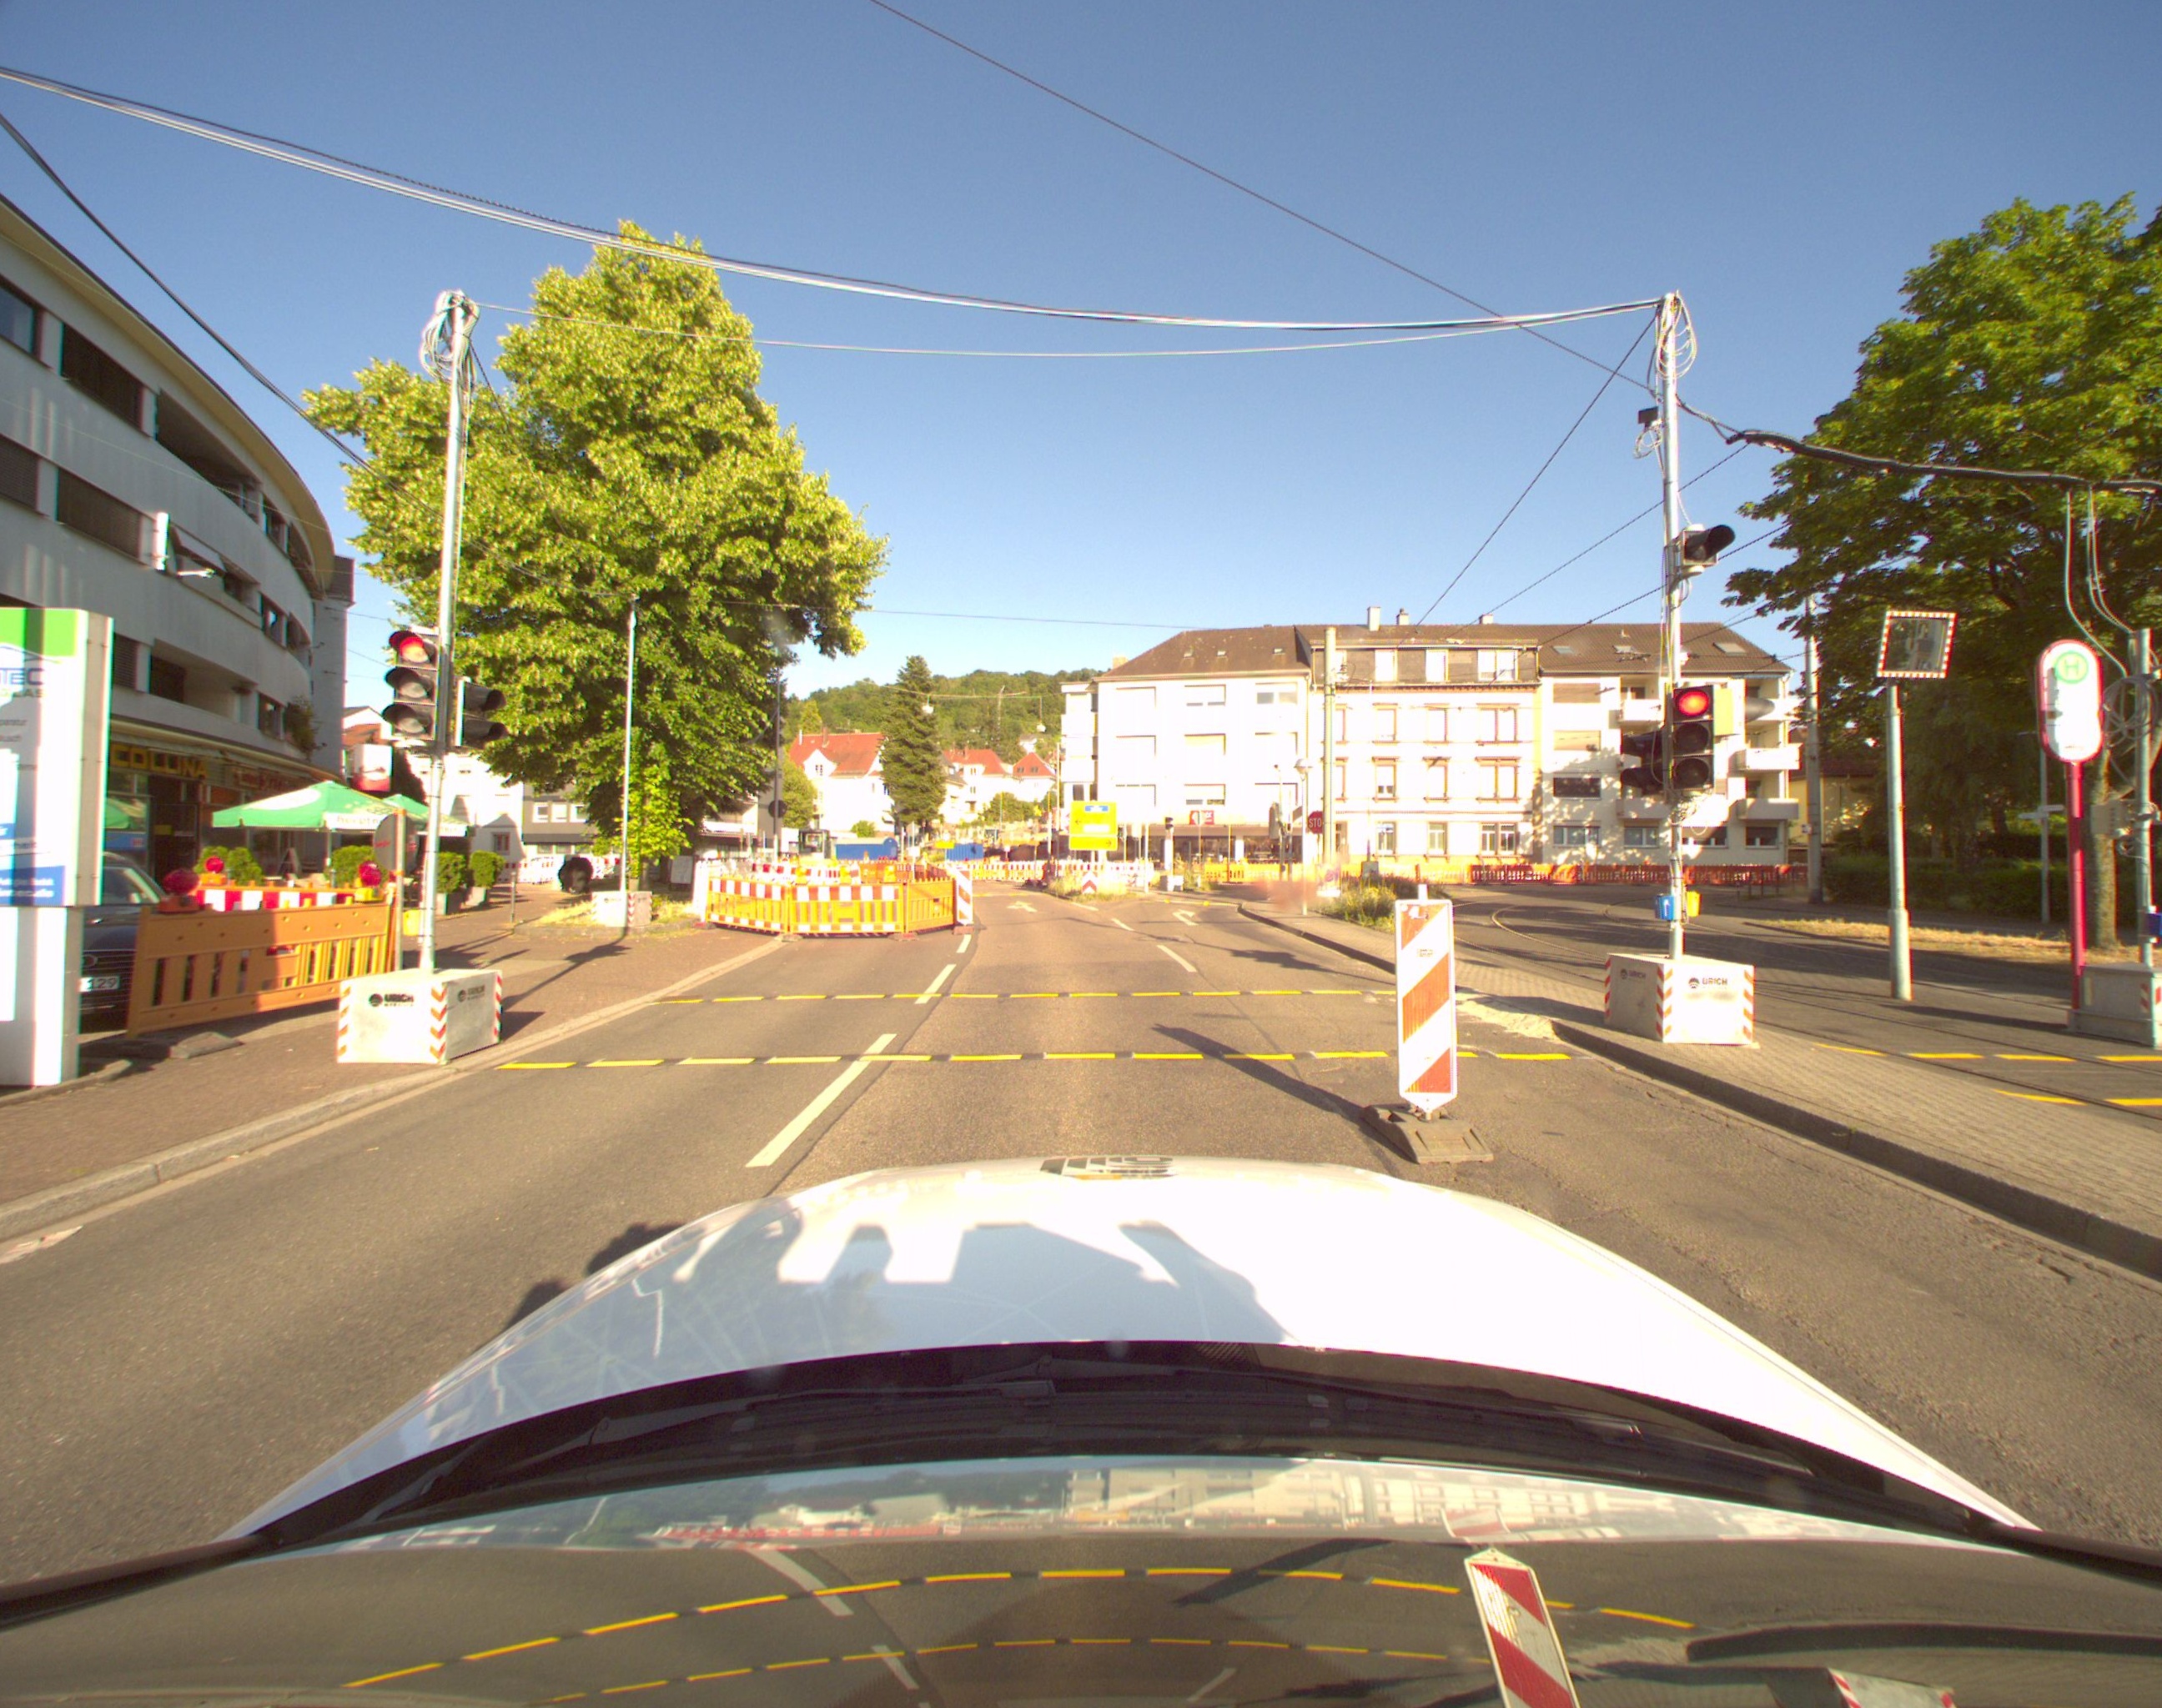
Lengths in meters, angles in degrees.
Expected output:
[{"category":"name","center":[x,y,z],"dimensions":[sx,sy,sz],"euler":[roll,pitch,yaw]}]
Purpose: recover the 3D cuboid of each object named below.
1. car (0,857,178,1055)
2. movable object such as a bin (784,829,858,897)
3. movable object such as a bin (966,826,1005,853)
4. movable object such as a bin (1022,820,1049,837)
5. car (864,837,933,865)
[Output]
[{"category":"car","center":[-9.320,0.780,7.303],"dimensions":[3.835,1.438,1.606],"euler":[-1,0,42]},{"category":"movable object such as a bin","center":[-9.455,0.302,29.865],"dimensions":[1.643,2.324,3.916],"euler":[0,0,-3]},{"category":"movable object such as a bin","center":[-9.246,-1.342,79.387],"dimensions":[1.932,2.494,4.574],"euler":[-1,-1,20]},{"category":"movable object such as a bin","center":[-6.426,-3.585,115.287],"dimensions":[2.549,2.122,5.801],"euler":[-1,-1,11]},{"category":"car","center":[-14.837,-0.224,66.662],"dimensions":[2.562,2.121,6.181],"euler":[-1,-1,20]}]
